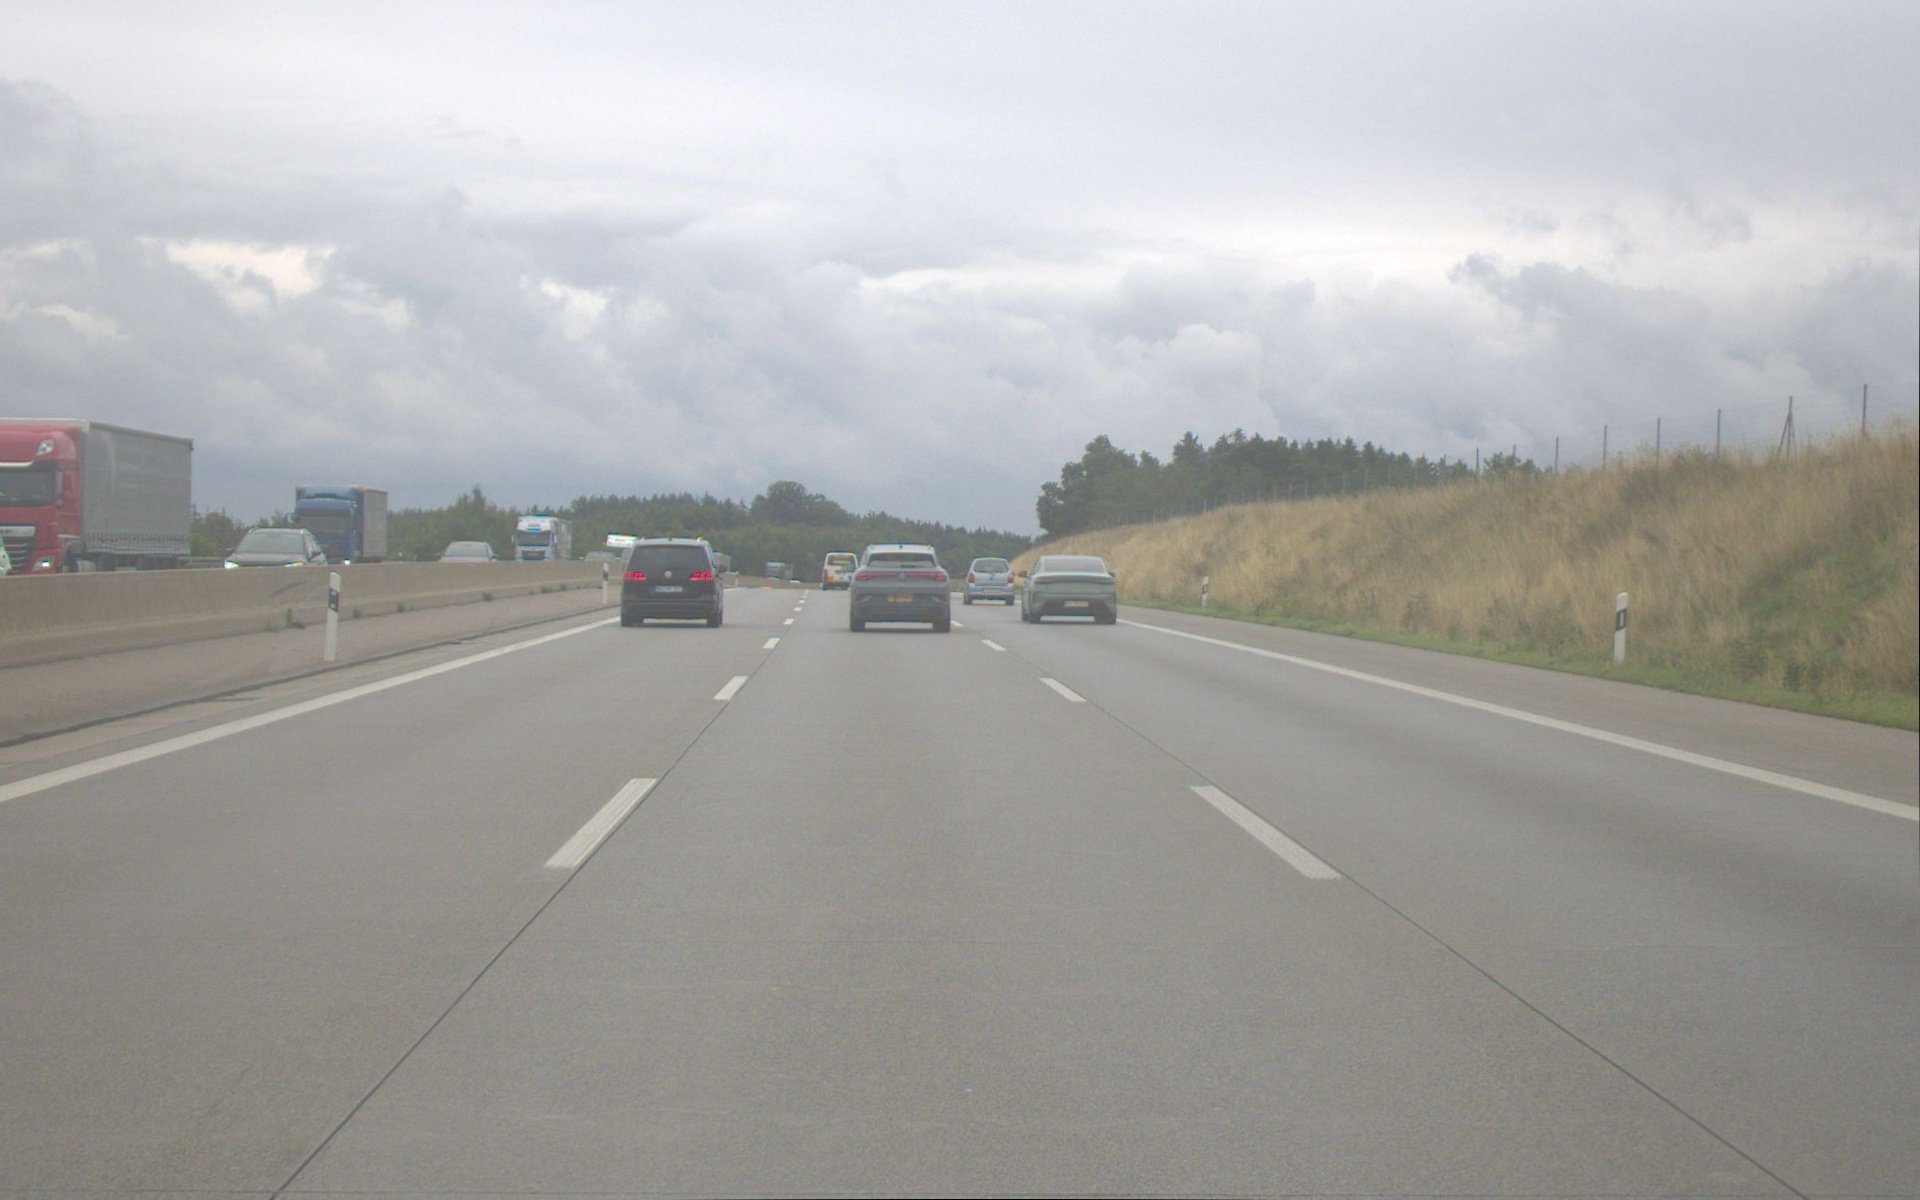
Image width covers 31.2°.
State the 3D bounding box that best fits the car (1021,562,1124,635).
[{"bbox_3d":[2.377,-0.057,73.916,2.014,1.441,4.745,1,1,0],"label":"car"}]

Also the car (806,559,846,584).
[{"bbox_3d":[-6.923,-1.490,178.342,1.798,1.217,4.000,1,1,2],"label":"car"}]

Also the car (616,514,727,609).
[{"bbox_3d":[-5.506,-0.758,65.981,1.785,1.741,3.915,1,1,0],"label":"car"}]

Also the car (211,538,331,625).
[{"bbox_3d":[-14.012,-0.403,70.123,1.713,1.673,4.182,1,1,-2],"label":"car"}]

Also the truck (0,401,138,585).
[{"bbox_3d":[-22.051,-2.524,81.853,3.470,4.168,6.494,1,1,-1],"label":"truck"}]

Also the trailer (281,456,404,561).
[{"bbox_3d":[-23.807,-3.521,133.177,2.849,3.824,12.400,1,1,-2],"label":"trailer"}]

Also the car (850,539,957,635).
[{"bbox_3d":[-1.042,-0.283,64.440,1.898,1.684,5.266,1,1,-1],"label":"car"}]

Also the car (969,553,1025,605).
[{"bbox_3d":[1.126,-0.670,105.967,1.485,1.465,3.505,4,1,-2],"label":"car"}]

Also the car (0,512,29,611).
[{"bbox_3d":[-16.841,-0.647,57.147,1.614,1.645,4.295,1,1,-1],"label":"car"}]

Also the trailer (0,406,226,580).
[{"bbox_3d":[-22.209,-2.731,89.854,3.483,4.187,12.929,1,1,-1],"label":"trailer"}]

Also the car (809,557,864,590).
[{"bbox_3d":[-4.576,-0.991,127.800,1.798,1.119,4.000,1,1,2],"label":"car"}]
